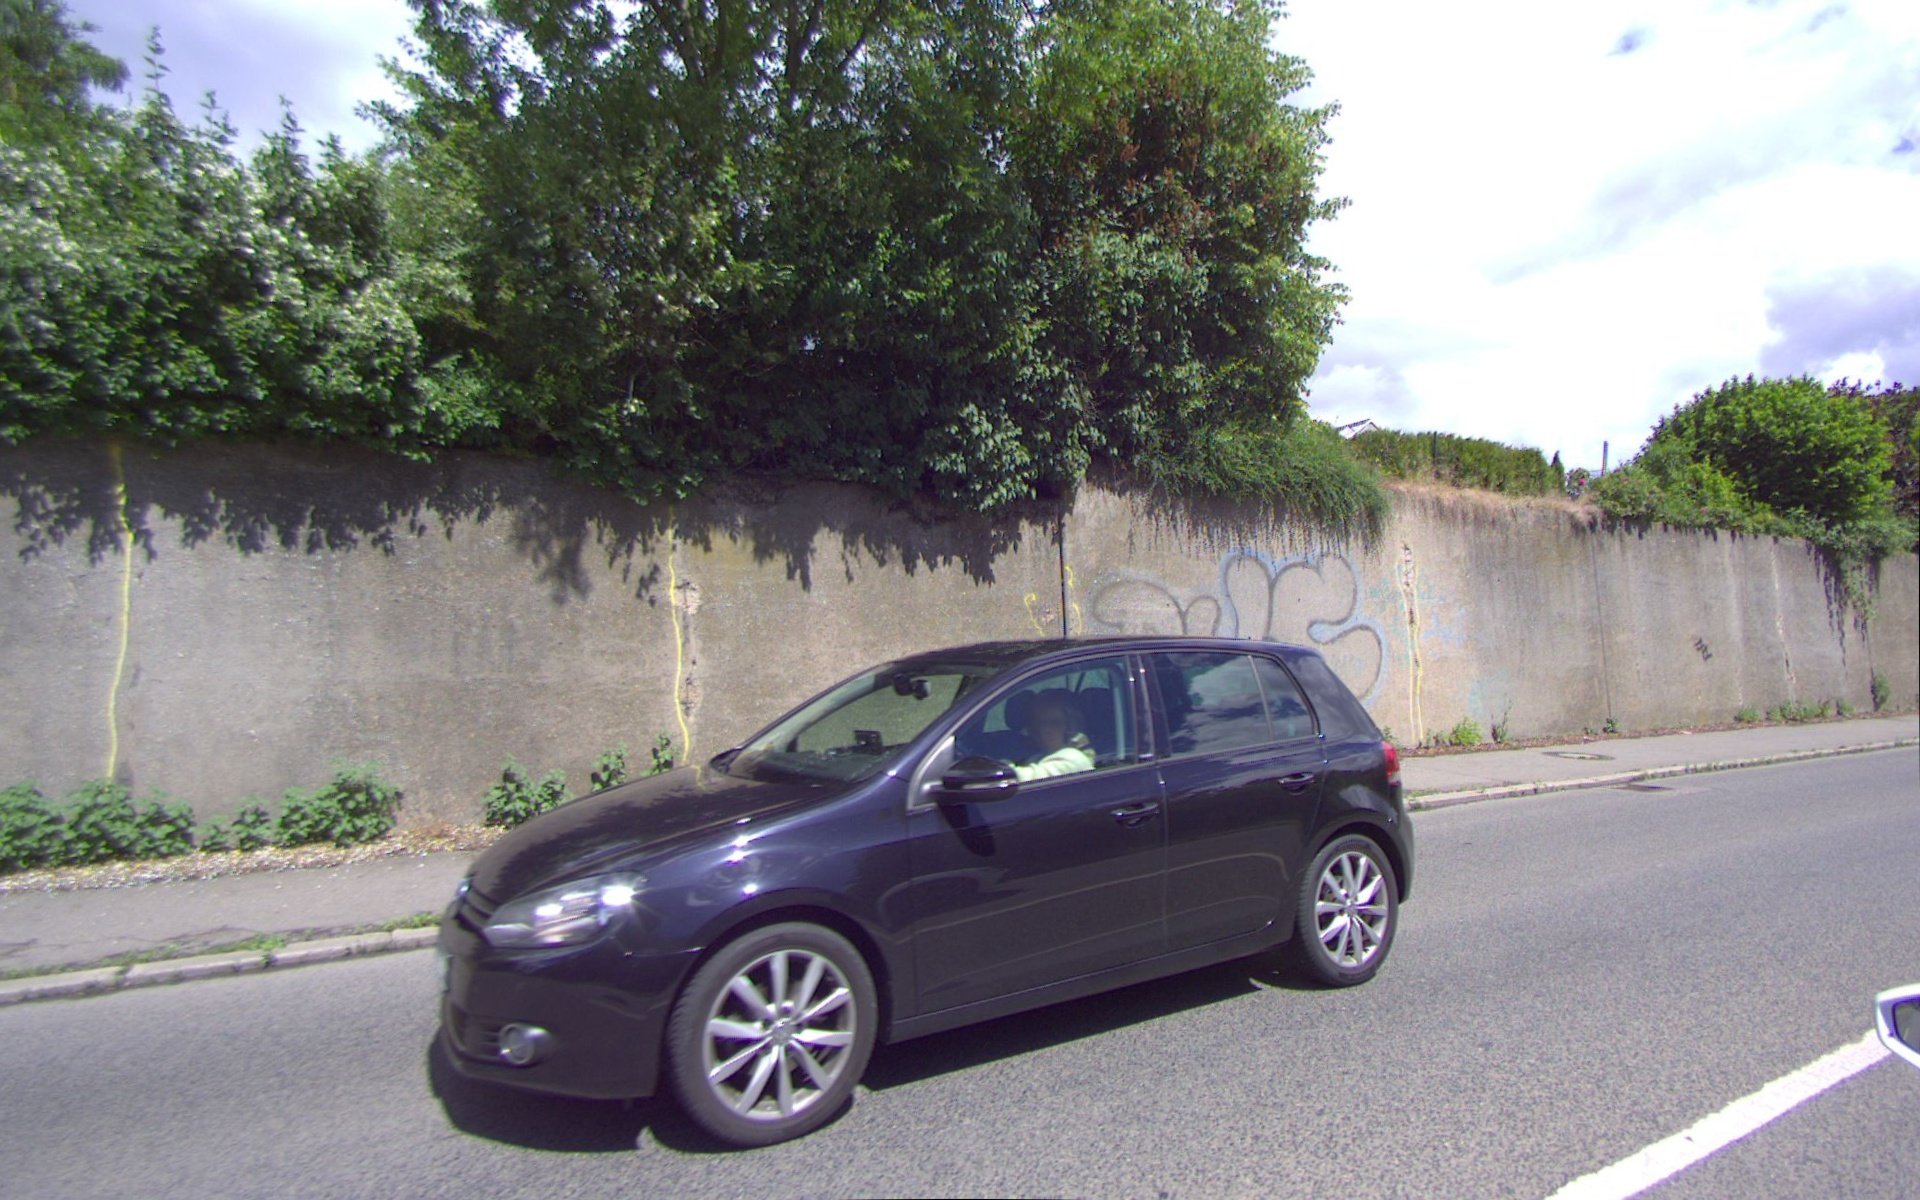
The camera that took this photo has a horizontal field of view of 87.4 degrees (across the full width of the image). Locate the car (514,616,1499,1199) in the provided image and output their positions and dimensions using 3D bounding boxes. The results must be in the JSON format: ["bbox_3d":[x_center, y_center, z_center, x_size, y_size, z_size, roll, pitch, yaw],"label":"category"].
[{"bbox_3d":[0.330,0.846,4.332,3.954,1.483,1.743,1,-2,-31],"label":"car"}]
